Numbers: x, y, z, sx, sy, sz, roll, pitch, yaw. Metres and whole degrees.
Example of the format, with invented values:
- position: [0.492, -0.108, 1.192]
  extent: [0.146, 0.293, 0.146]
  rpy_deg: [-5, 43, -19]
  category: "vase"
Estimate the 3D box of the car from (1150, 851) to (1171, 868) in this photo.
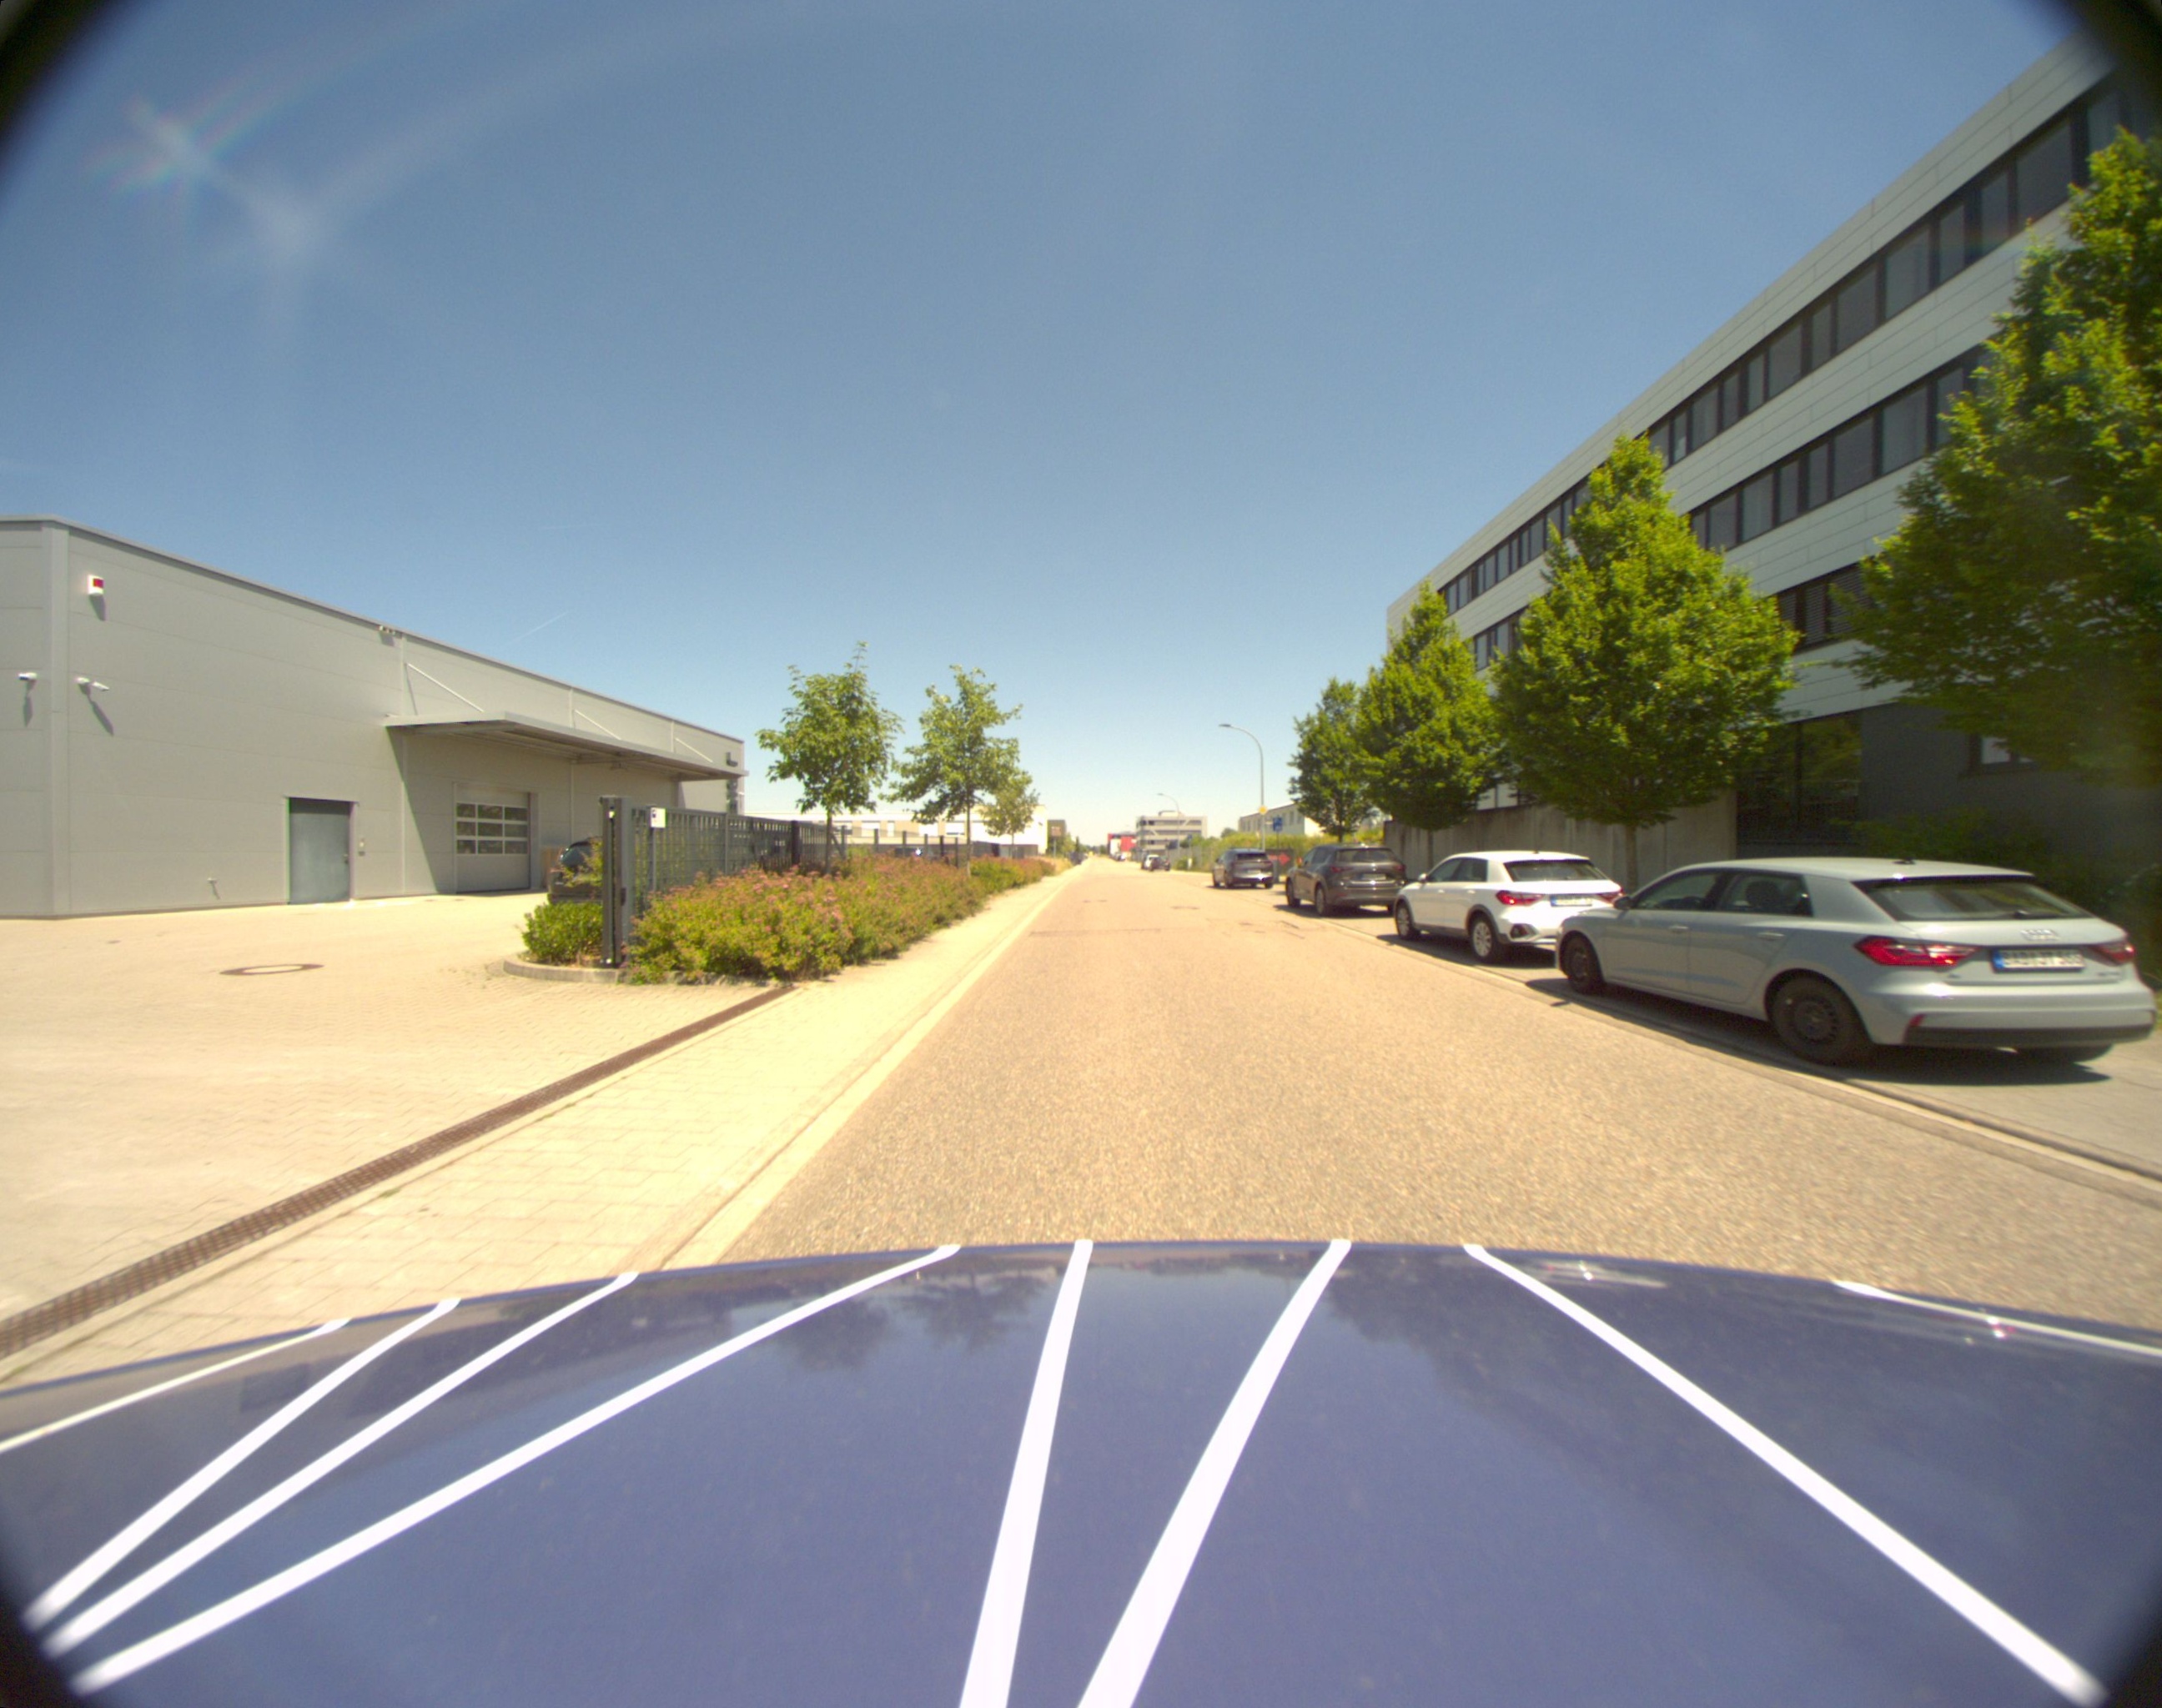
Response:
- position: [7.359, 0.474, 70.639]
  extent: [1.678, 1.442, 4.069]
  rpy_deg: [0, 1, 1]
  category: "car"

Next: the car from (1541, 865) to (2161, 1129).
- position: [5.911, 0.864, 6.379]
  extent: [1.775, 1.423, 3.940]
  rpy_deg: [-1, 1, 1]
  category: "car"

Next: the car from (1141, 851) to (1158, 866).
- position: [7.761, 0.487, 86.397]
  extent: [1.678, 1.521, 3.909]
  rpy_deg: [-1, 1, 1]
  category: "car"

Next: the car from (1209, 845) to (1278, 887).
- position: [6.543, 0.463, 31.119]
  extent: [1.775, 1.578, 4.481]
  rpy_deg: [-1, 0, -1]
  category: "car"

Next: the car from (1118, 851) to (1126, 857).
- position: [9.823, 0.026, 181.480]
  extent: [1.694, 1.481, 3.660]
  rpy_deg: [-2, 1, 2]
  category: "car"

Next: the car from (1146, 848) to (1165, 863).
- position: [7.788, 0.175, 79.975]
  extent: [1.678, 1.521, 3.757]
  rpy_deg: [0, 1, 1]
  category: "car"

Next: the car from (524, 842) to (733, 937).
- position: [-8.266, 0.559, 14.329]
  extent: [1.546, 1.547, 3.879]
  rpy_deg: [1, 1, 1]
  category: "car"

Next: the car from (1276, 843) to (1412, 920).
- position: [6.152, 0.565, 18.341]
  extent: [1.775, 1.614, 4.582]
  rpy_deg: [0, 1, 1]
  category: "car"

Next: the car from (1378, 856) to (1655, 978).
- position: [6.102, 0.771, 11.311]
  extent: [1.775, 1.423, 4.201]
  rpy_deg: [0, 1, 1]
  category: "car"
